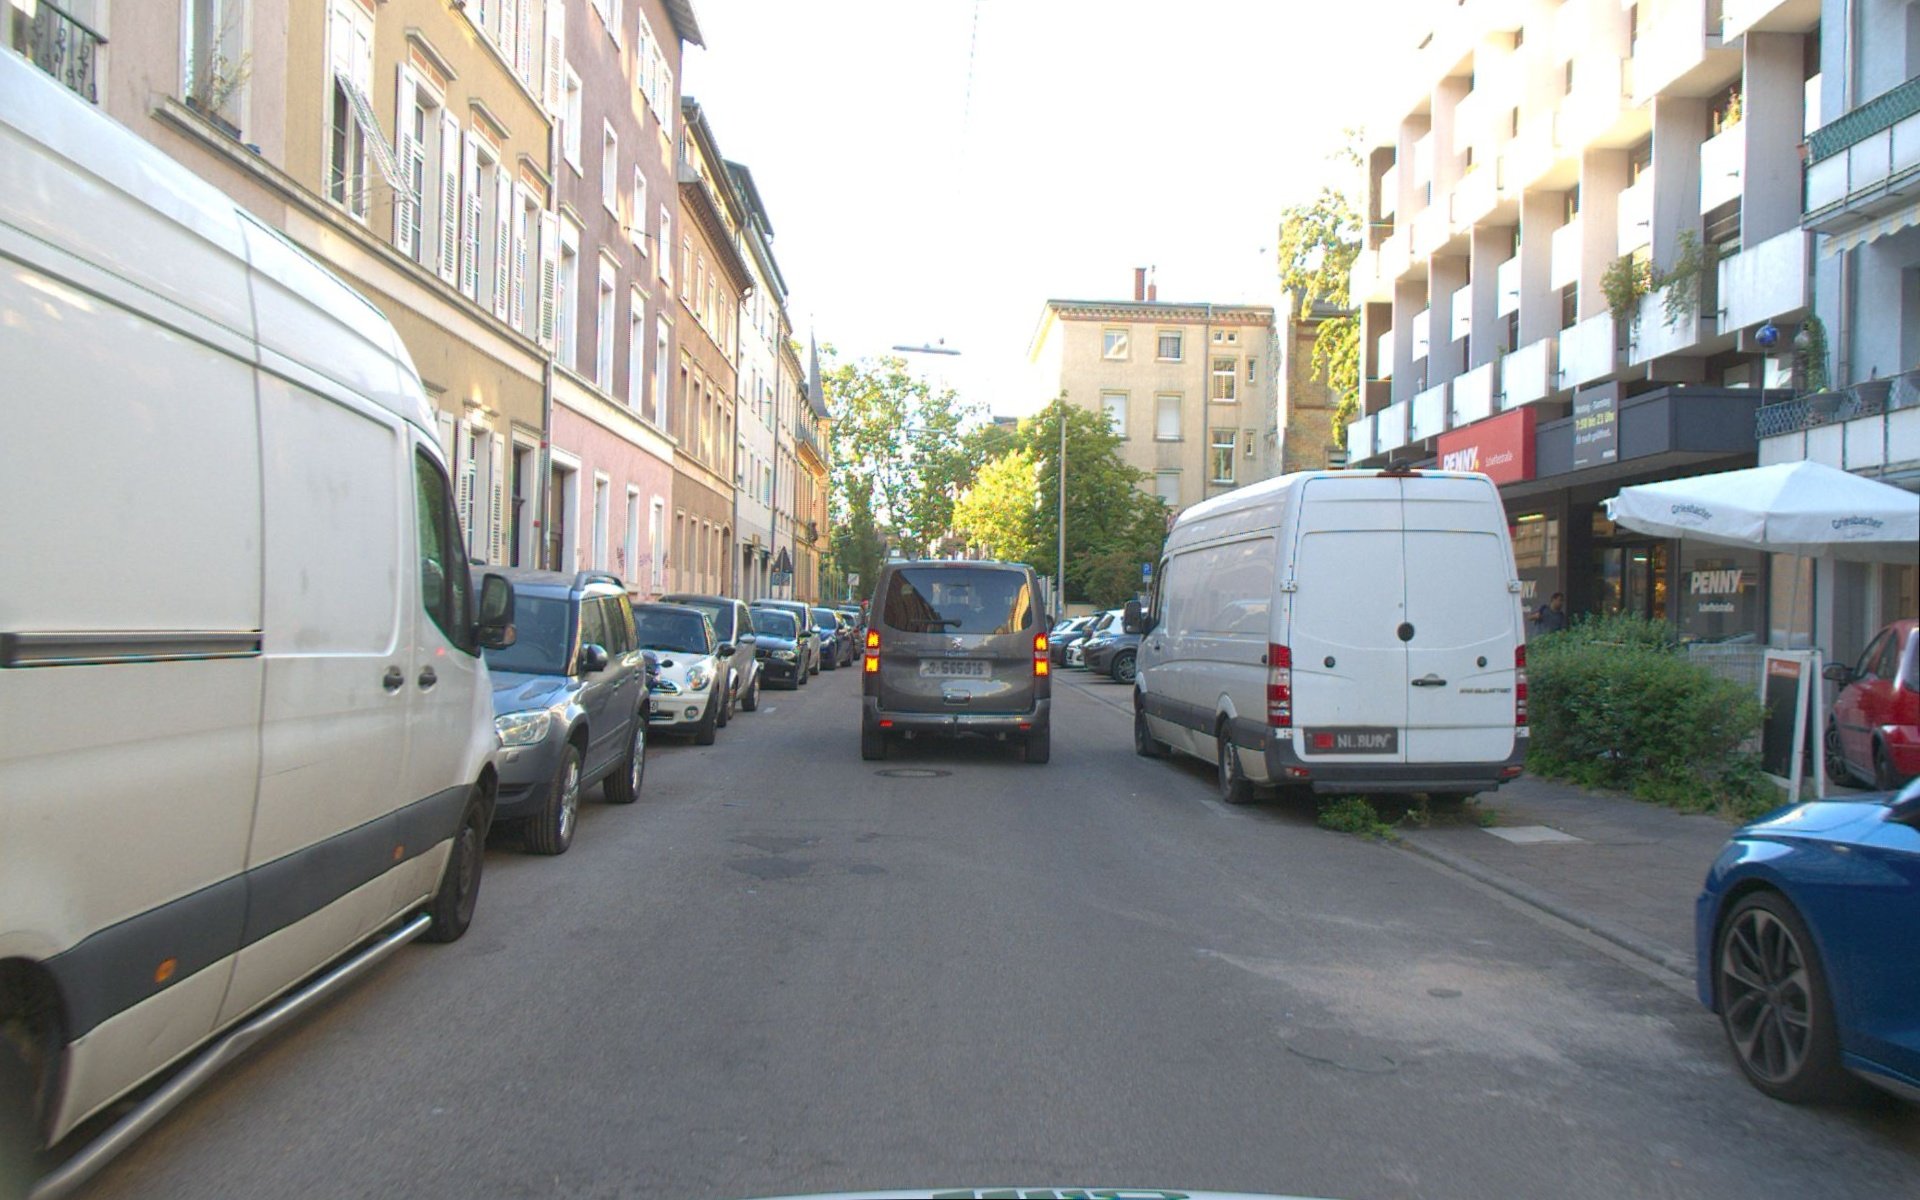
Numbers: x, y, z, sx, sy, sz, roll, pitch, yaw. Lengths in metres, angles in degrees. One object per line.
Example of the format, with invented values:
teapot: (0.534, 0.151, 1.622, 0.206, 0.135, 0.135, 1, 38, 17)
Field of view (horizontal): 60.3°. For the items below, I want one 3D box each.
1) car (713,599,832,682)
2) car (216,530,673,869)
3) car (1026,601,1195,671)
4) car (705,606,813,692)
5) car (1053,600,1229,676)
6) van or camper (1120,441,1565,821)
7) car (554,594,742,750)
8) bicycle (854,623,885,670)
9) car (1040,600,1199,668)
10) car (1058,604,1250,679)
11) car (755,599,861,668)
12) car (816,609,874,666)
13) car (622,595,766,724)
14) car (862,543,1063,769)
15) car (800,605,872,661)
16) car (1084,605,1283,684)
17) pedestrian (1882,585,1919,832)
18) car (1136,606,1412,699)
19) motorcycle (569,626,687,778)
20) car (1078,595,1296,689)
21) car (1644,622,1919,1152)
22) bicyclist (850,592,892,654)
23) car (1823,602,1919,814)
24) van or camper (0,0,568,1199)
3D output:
car: (-3.998, 0.834, 35.995, 1.952, 1.633, 4.585, 2, 0, 1)
car: (-3.157, 0.547, 11.100, 1.826, 1.781, 4.291, 2, 0, -3)
car: (4.307, 1.018, 47.636, 4.484, 1.823, 1.996, 2, 0, -9)
car: (-3.708, 0.865, 31.090, 1.753, 1.422, 4.463, 2, 0, -4)
car: (4.886, 1.015, 44.891, 4.390, 1.891, 1.881, 2, 0, -9)
van or camper: (3.049, 0.239, 15.328, 2.057, 2.648, 7.508, 0, 0, -3)
car: (-3.408, 0.735, 18.664, 1.678, 1.523, 3.851, 2, 0, -5)
bicycle: (-2.345, 1.200, 43.228, 0.608, 1.158, 2.258, 0, 0, 2)
car: (4.859, 1.027, 50.631, 4.484, 1.891, 1.996, 2, 0, -9)
car: (4.916, 1.035, 42.239, 4.484, 1.735, 1.996, 2, 0, -9)
car: (-3.782, 0.814, 41.903, 1.952, 1.588, 4.586, 2, 0, 3)
car: (-4.189, 1.324, 60.080, 1.954, 1.891, 4.580, 2, 0, -4)
car: (-3.465, 0.740, 21.920, 1.357, 1.559, 2.749, 2, 0, 1)
car: (0.011, 0.512, 17.131, 1.819, 2.049, 4.000, 0, 0, 0)
car: (-3.854, 1.002, 51.501, 2.102, 1.588, 4.580, 2, 0, -4)
car: (5.307, 1.047, 39.521, 4.369, 1.705, 1.795, 2, 0, -6)
pedestrian: (6.610, 0.687, 10.605, 0.859, 1.583, 0.869, -1, 0, -23)
car: (5.533, 0.914, 29.530, 4.532, 1.491, 1.840, -1, 0, -2)
motorcycle: (-3.060, 0.897, 15.455, 0.696, 1.256, 2.473, 1, 0, -3)
car: (4.968, 0.915, 36.649, 4.478, 1.891, 1.999, 2, 0, -3)
car: (3.465, 0.782, 3.971, 1.688, 1.412, 4.292, 0, 0, -3)
bicyclist: (-2.340, 0.599, 43.619, 1.013, 1.605, 0.833, 0, 0, 3)
car: (7.644, 0.761, 12.579, 1.567, 1.441, 3.228, 0, 0, 21)
van or camper: (-2.782, 0.130, 4.891, 1.910, 2.696, 7.136, 0, 0, -3)
